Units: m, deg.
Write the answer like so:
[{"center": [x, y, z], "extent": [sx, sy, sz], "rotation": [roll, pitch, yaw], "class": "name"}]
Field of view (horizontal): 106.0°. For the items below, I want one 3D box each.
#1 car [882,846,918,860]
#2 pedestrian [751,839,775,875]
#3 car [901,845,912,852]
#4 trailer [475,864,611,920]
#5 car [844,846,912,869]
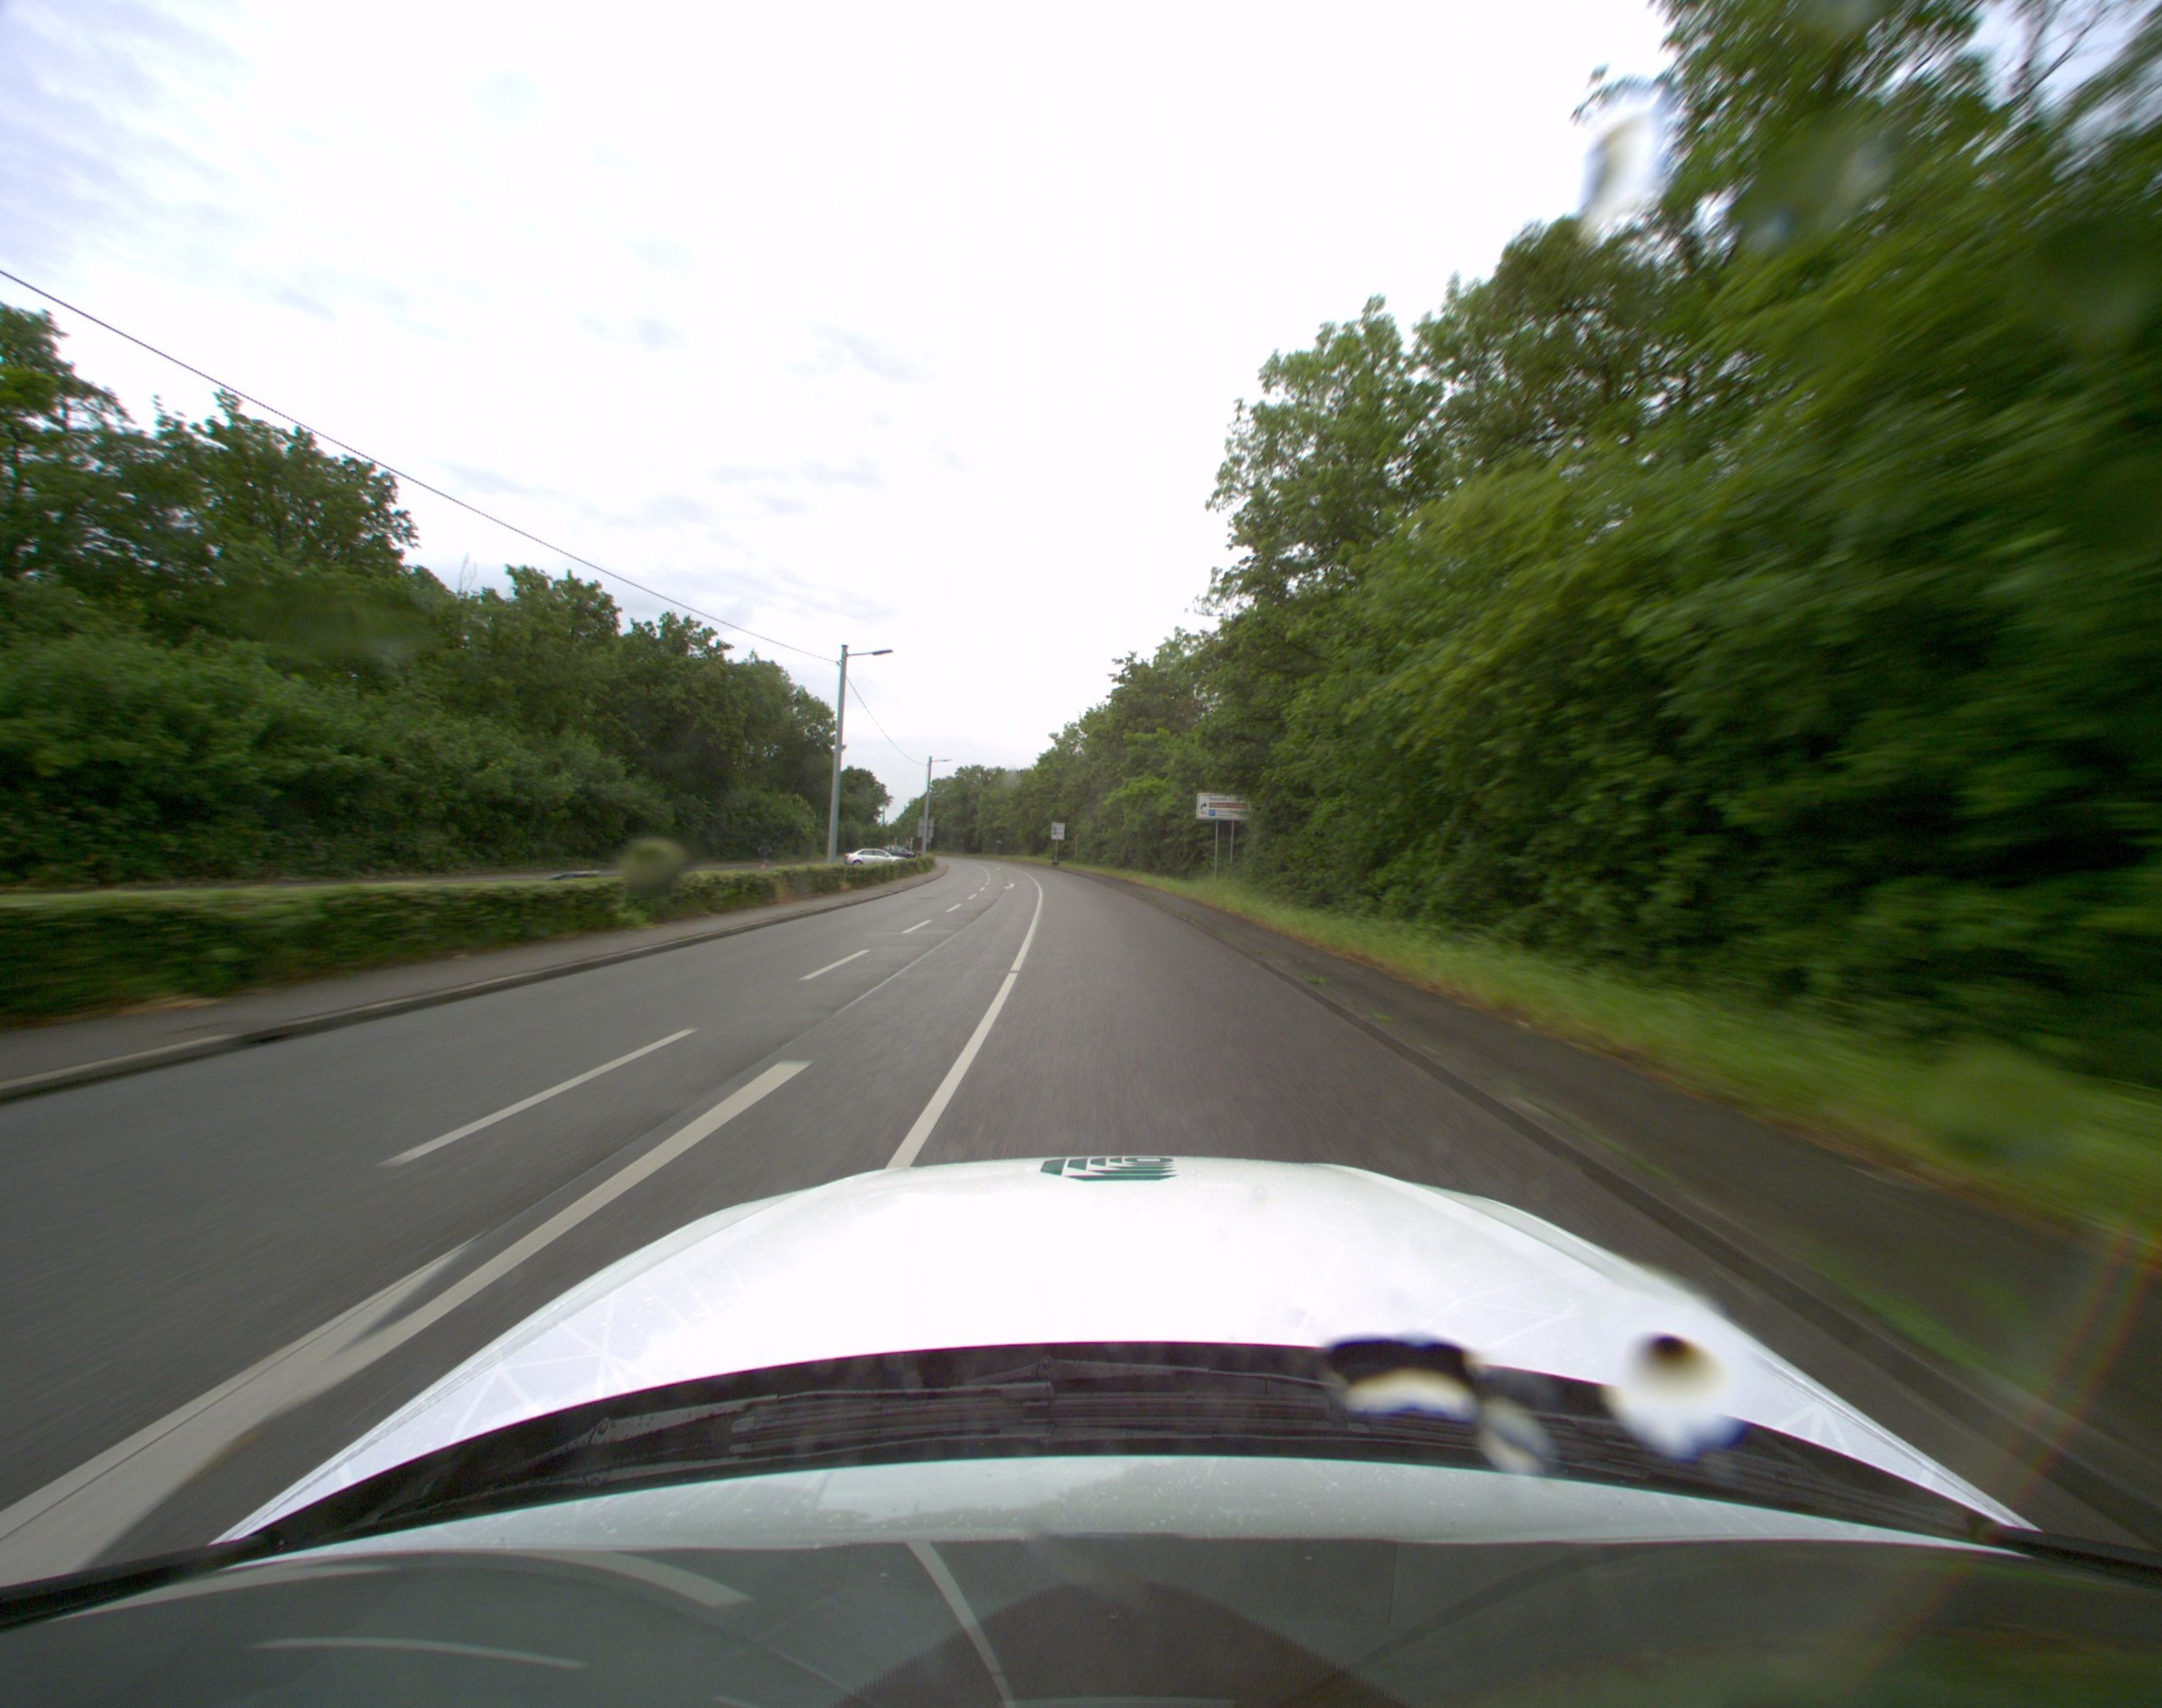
[{"center": [-22.893, -0.154, 102.949], "extent": [4.291, 1.708, 1.993], "rotation": [1, 0, -11], "class": "car"}, {"center": [-16.166, 0.139, 41.441], "extent": [0.815, 1.797, 1.134], "rotation": [1, 0, -3], "class": "pedestrian"}, {"center": [-38.790, -1.273, 181.361], "extent": [1.940, 1.498, 4.291], "rotation": [1, 0, -18], "class": "car"}, {"center": [-10.634, 0.740, 16.199], "extent": [1.798, 1.034, 1.332], "rotation": [1, 0, -5], "class": "trailer"}, {"center": [-14.312, 0.268, 57.556], "extent": [4.580, 1.506, 1.991], "rotation": [1, 0, -14], "class": "car"}]
